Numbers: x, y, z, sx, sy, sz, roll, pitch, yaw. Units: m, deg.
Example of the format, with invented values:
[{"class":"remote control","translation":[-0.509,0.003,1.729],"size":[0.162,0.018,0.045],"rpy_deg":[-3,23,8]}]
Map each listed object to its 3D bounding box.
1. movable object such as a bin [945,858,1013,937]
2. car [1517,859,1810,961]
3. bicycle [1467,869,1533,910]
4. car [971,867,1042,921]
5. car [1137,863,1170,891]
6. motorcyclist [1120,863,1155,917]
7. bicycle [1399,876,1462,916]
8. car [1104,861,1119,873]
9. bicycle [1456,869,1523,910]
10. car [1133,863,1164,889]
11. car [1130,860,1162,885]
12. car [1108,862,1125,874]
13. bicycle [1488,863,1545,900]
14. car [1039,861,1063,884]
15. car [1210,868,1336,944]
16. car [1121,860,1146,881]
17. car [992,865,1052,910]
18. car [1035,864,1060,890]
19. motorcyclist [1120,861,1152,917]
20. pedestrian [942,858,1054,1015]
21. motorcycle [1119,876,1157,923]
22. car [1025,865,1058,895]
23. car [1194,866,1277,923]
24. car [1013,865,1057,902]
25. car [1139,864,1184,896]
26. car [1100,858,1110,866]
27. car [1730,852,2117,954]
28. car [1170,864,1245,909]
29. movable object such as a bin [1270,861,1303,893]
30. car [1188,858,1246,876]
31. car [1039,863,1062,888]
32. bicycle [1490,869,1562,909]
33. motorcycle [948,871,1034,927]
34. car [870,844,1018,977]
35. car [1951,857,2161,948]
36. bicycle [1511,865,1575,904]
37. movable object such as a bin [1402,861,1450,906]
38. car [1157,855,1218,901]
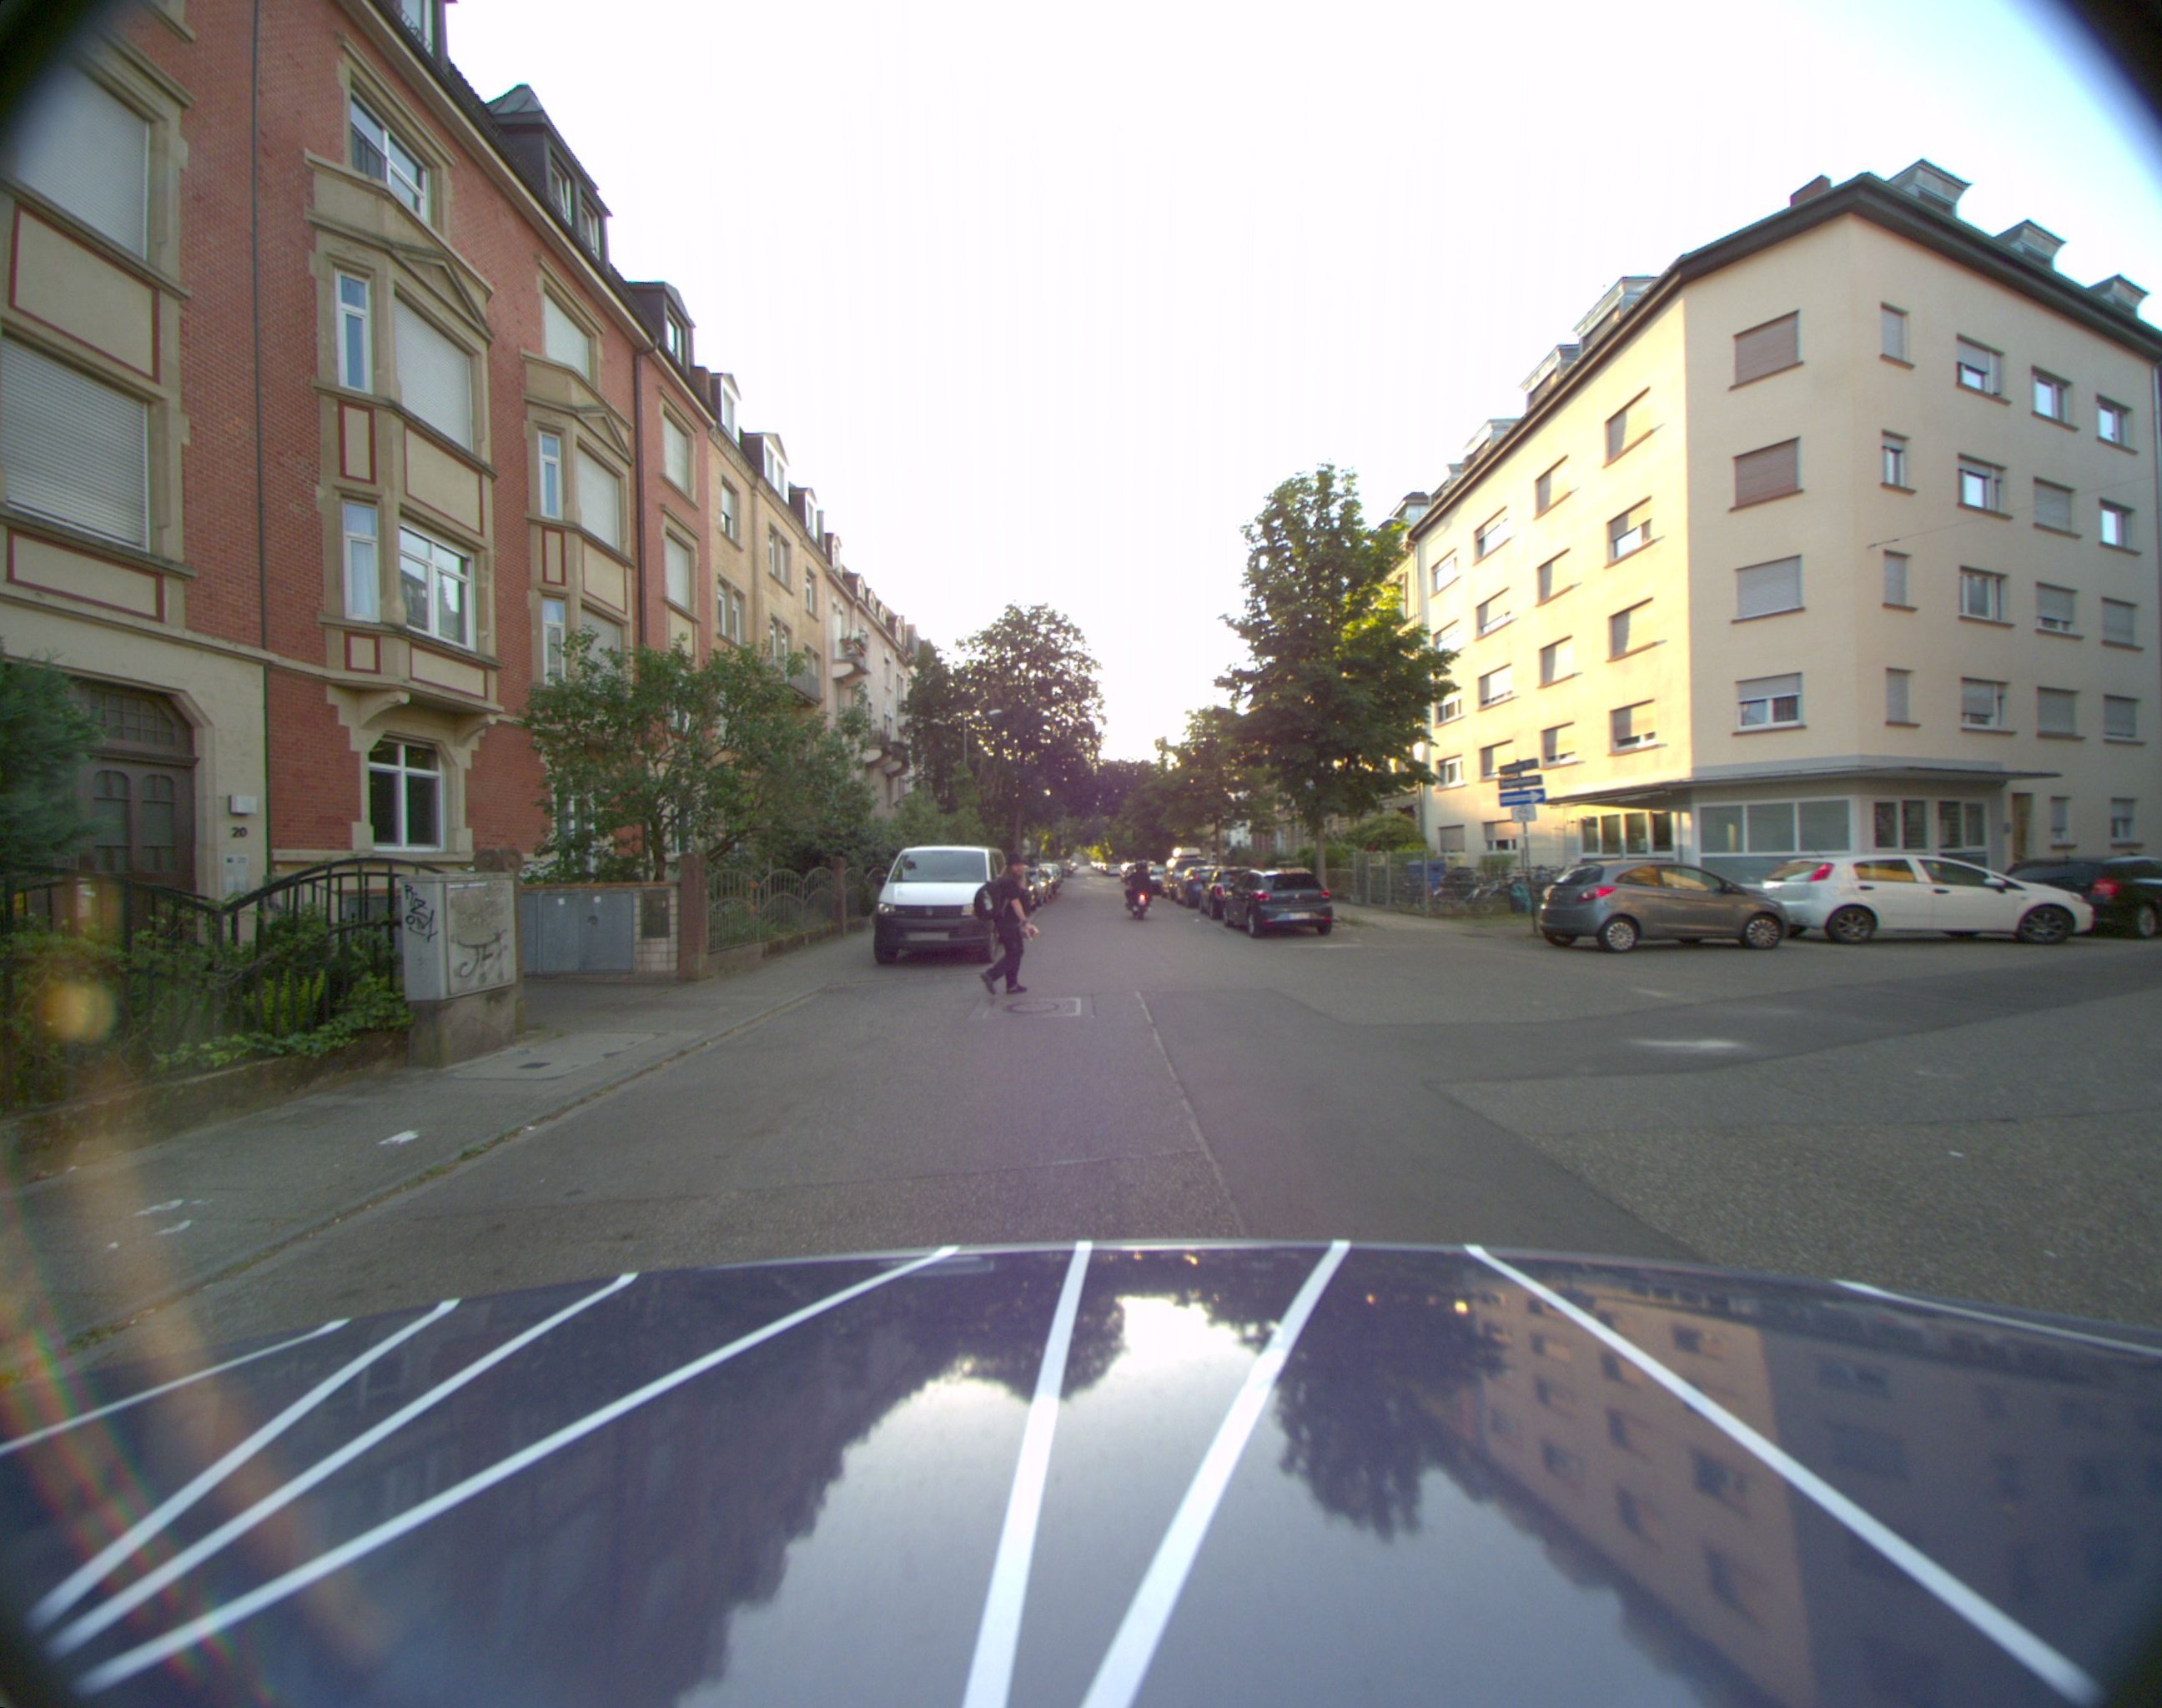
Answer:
[{"class":"movable object such as a bin","translation":[-2.539,1.056,19.326],"size":[1.415,1.867,2.325],"rpy_deg":[1,0,0]},{"class":"car","translation":[9.684,0.900,12.856],"size":[3.515,1.498,1.845],"rpy_deg":[-2,-1,-1]},{"class":"bicycle","translation":[11.898,1.002,21.609],"size":[0.502,1.085,1.545],"rpy_deg":[-3,0,-37]},{"class":"car","translation":[-2.383,1.258,25.398],"size":[1.724,1.542,4.326],"rpy_deg":[-2,0,2]},{"class":"car","translation":[4.134,1.267,43.752],"size":[1.441,1.485,3.298],"rpy_deg":[-2,0,-2]},{"class":"motorcyclist","translation":[1.650,1.018,22.114],"size":[0.891,1.496,0.970],"rpy_deg":[1,1,10]},{"class":"bicycle","translation":[9.790,1.150,21.374],"size":[0.689,1.019,1.931],"rpy_deg":[-3,0,-5]},{"class":"car","translation":[4.196,1.756,104.130],"size":[1.840,1.484,3.641],"rpy_deg":[-2,0,0]},{"class":"bicycle","translation":[11.451,0.994,21.337],"size":[0.502,1.085,1.545],"rpy_deg":[-3,0,-37]},{"class":"car","translation":[4.259,1.383,48.260],"size":[1.682,1.489,3.626],"rpy_deg":[-2,0,2]},{"class":"car","translation":[4.504,1.261,53.252],"size":[1.866,1.653,4.021],"rpy_deg":[-2,0,1]},{"class":"car","translation":[4.525,1.757,98.490],"size":[1.953,1.484,3.738],"rpy_deg":[-2,0,0]},{"class":"bicycle","translation":[13.853,0.862,24.194],"size":[1.548,1.086,0.500],"rpy_deg":[-3,0,-6]},{"class":"car","translation":[-2.284,1.387,58.248],"size":[1.737,1.691,4.168],"rpy_deg":[-2,0,-2]},{"class":"car","translation":[4.320,1.108,17.802],"size":[1.679,1.453,4.463],"rpy_deg":[-2,0,-2]},{"class":"car","translation":[4.432,1.378,64.590],"size":[1.677,1.627,3.940],"rpy_deg":[-2,0,-3]},{"class":"car","translation":[-2.292,1.279,30.652],"size":[1.761,1.573,4.843],"rpy_deg":[-3,0,2]},{"class":"car","translation":[-2.097,1.456,48.234],"size":[1.479,1.498,3.928],"rpy_deg":[-2,0,-2]},{"class":"motorcyclist","translation":[1.555,0.963,21.392],"size":[0.788,1.531,0.546],"rpy_deg":[1,1,10]},{"class":"pedestrian","translation":[-1.002,0.930,9.090],"size":[0.960,1.712,0.889],"rpy_deg":[-3,0,-32]},{"class":"motorcycle","translation":[1.660,1.270,21.897],"size":[0.848,1.202,2.076],"rpy_deg":[1,0,10]},{"class":"car","translation":[-2.186,1.448,43.013],"size":[1.737,1.498,4.163],"rpy_deg":[-2,0,-2]},{"class":"car","translation":[4.493,1.130,22.628],"size":[1.746,1.412,4.143],"rpy_deg":[-2,0,2]},{"class":"car","translation":[-2.076,1.318,35.146],"size":[1.590,1.516,3.603],"rpy_deg":[-3,0,2]},{"class":"car","translation":[4.088,1.296,39.036],"size":[1.733,1.433,4.024],"rpy_deg":[-2,0,-2]},{"class":"car","translation":[4.629,1.536,148.138],"size":[1.840,1.484,3.641],"rpy_deg":[-2,0,0]},{"class":"car","translation":[14.204,0.814,13.132],"size":[4.066,1.499,1.975],"rpy_deg":[-3,0,12]},{"class":"car","translation":[4.504,1.123,27.784],"size":[1.866,1.404,4.590],"rpy_deg":[-2,0,-1]},{"class":"movable object such as a bin","translation":[9.274,1.011,34.304],"size":[0.948,1.379,1.551],"rpy_deg":[-3,0,-3]},{"class":"car","translation":[11.124,1.082,62.323],"size":[4.413,1.333,1.626],"rpy_deg":[-2,0,1]},{"class":"car","translation":[-2.109,1.459,52.495],"size":[1.502,1.538,3.338],"rpy_deg":[-2,0,-2]},{"class":"bicycle","translation":[12.563,0.987,21.476],"size":[0.386,1.085,1.707],"rpy_deg":[-3,0,-36]},{"class":"motorcycle","translation":[-2.519,1.215,21.329],"size":[2.099,1.473,1.130],"rpy_deg":[0,0,-33]},{"class":"car","translation":[-2.328,0.884,14.382],"size":[1.866,2.027,5.544],"rpy_deg":[0,0,-1]},{"class":"car","translation":[18.587,0.809,13.880],"size":[4.082,1.430,1.996],"rpy_deg":[-1,-1,-16]},{"class":"bicycle","translation":[13.964,0.928,22.986],"size":[1.635,1.086,0.500],"rpy_deg":[-3,0,-6]},{"class":"movable object such as a bin","translation":[10.945,0.918,24.177],"size":[0.868,1.344,1.398],"rpy_deg":[-3,0,2]},{"class":"car","translation":[4.497,0.976,32.727],"size":[1.866,1.768,4.623],"rpy_deg":[-2,0,-1]}]
